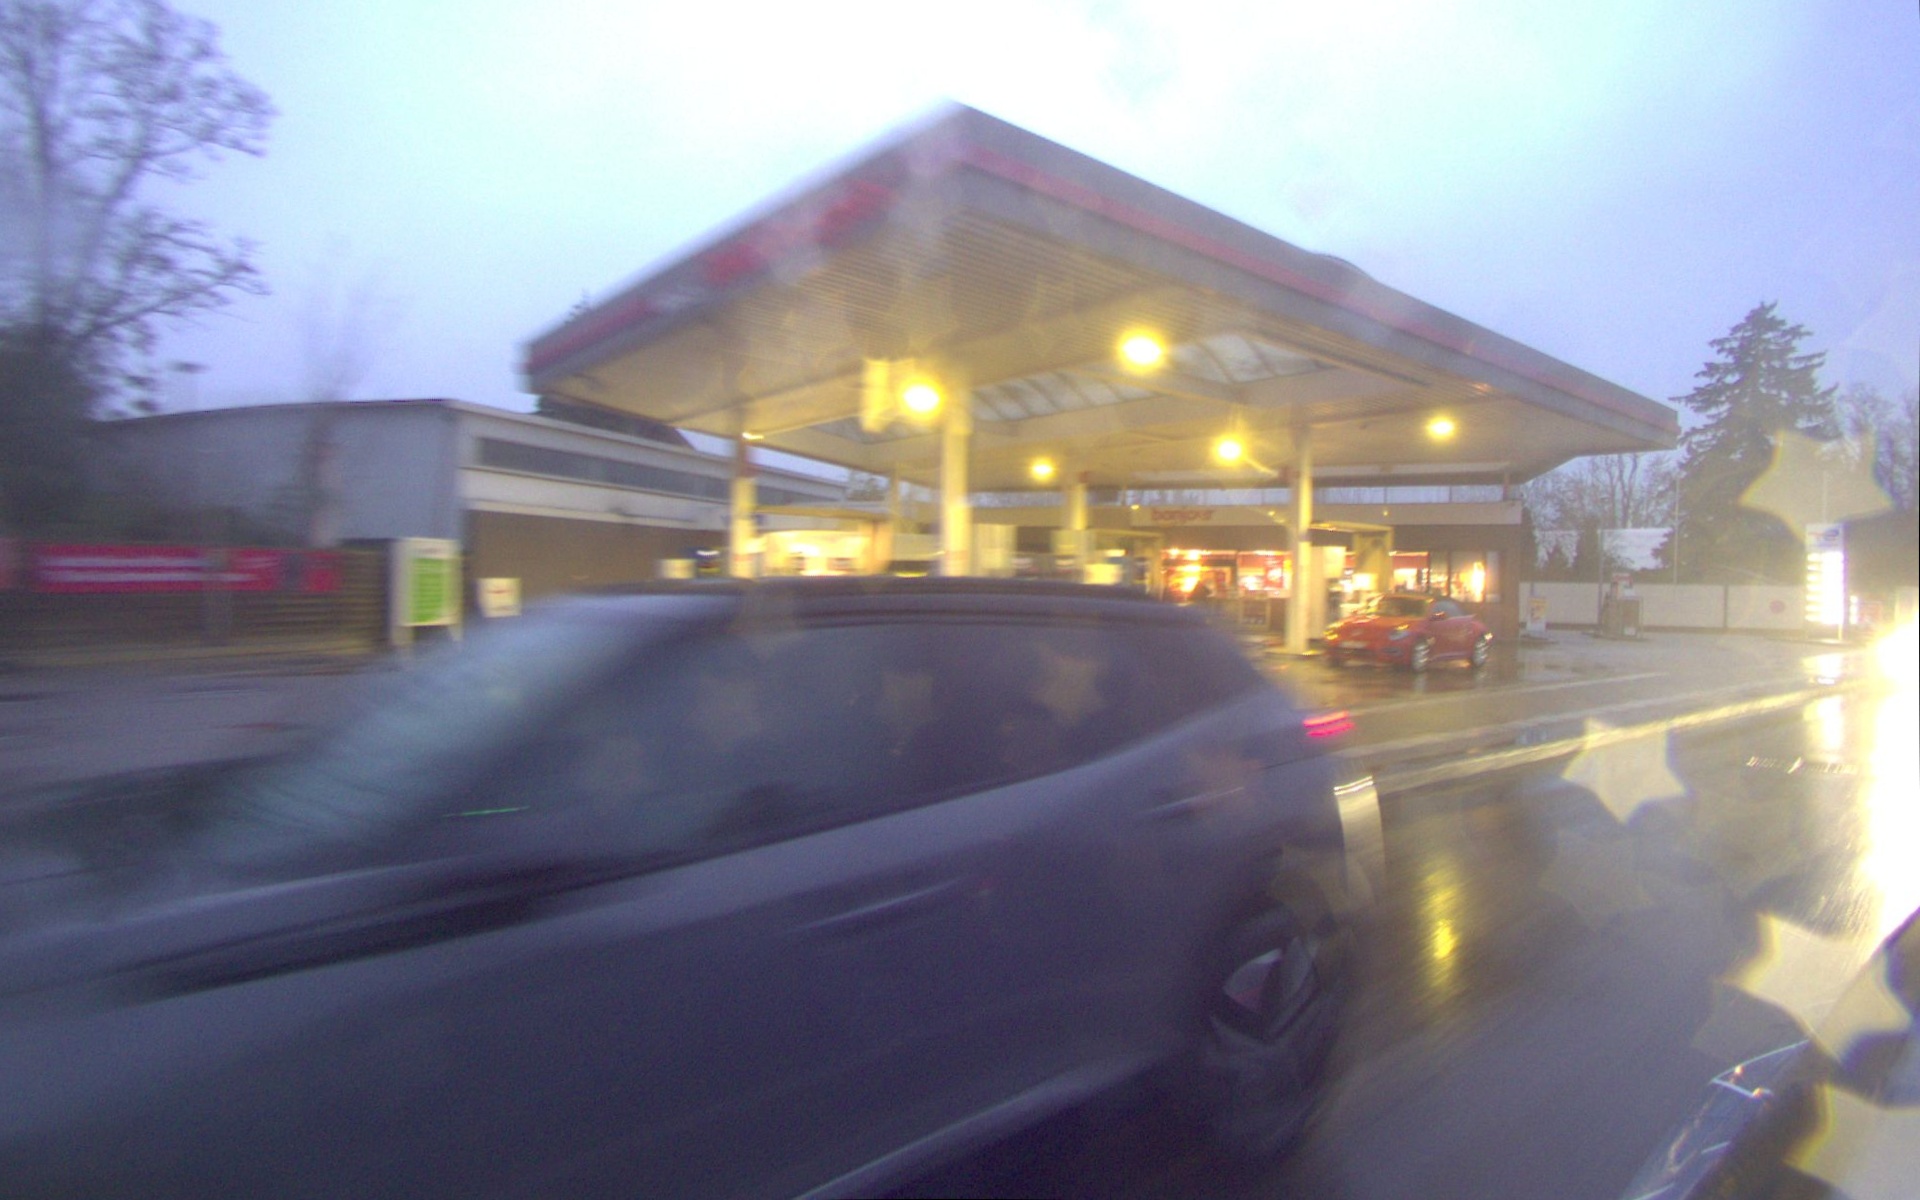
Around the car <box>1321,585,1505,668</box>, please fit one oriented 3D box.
[{"bbox_3d":[8.914,0.460,19.782,4.093,1.414,1.576,0,2,-39],"label":"car"}]

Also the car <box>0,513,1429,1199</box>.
[{"bbox_3d":[-0.607,0.665,2.457,3.933,1.548,1.569,0,1,-38],"label":"car"}]

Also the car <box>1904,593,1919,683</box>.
[{"bbox_3d":[18.063,0.636,17.702,3.933,1.511,2.012,0,0,-43],"label":"car"}]

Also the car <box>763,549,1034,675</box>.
[{"bbox_3d":[-0.972,0.129,17.214,4.221,1.882,1.999,0,2,-39],"label":"car"}]

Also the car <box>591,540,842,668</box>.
[{"bbox_3d":[-4.336,0.038,18.238,3.928,2.039,1.998,0,1,-39],"label":"car"}]
